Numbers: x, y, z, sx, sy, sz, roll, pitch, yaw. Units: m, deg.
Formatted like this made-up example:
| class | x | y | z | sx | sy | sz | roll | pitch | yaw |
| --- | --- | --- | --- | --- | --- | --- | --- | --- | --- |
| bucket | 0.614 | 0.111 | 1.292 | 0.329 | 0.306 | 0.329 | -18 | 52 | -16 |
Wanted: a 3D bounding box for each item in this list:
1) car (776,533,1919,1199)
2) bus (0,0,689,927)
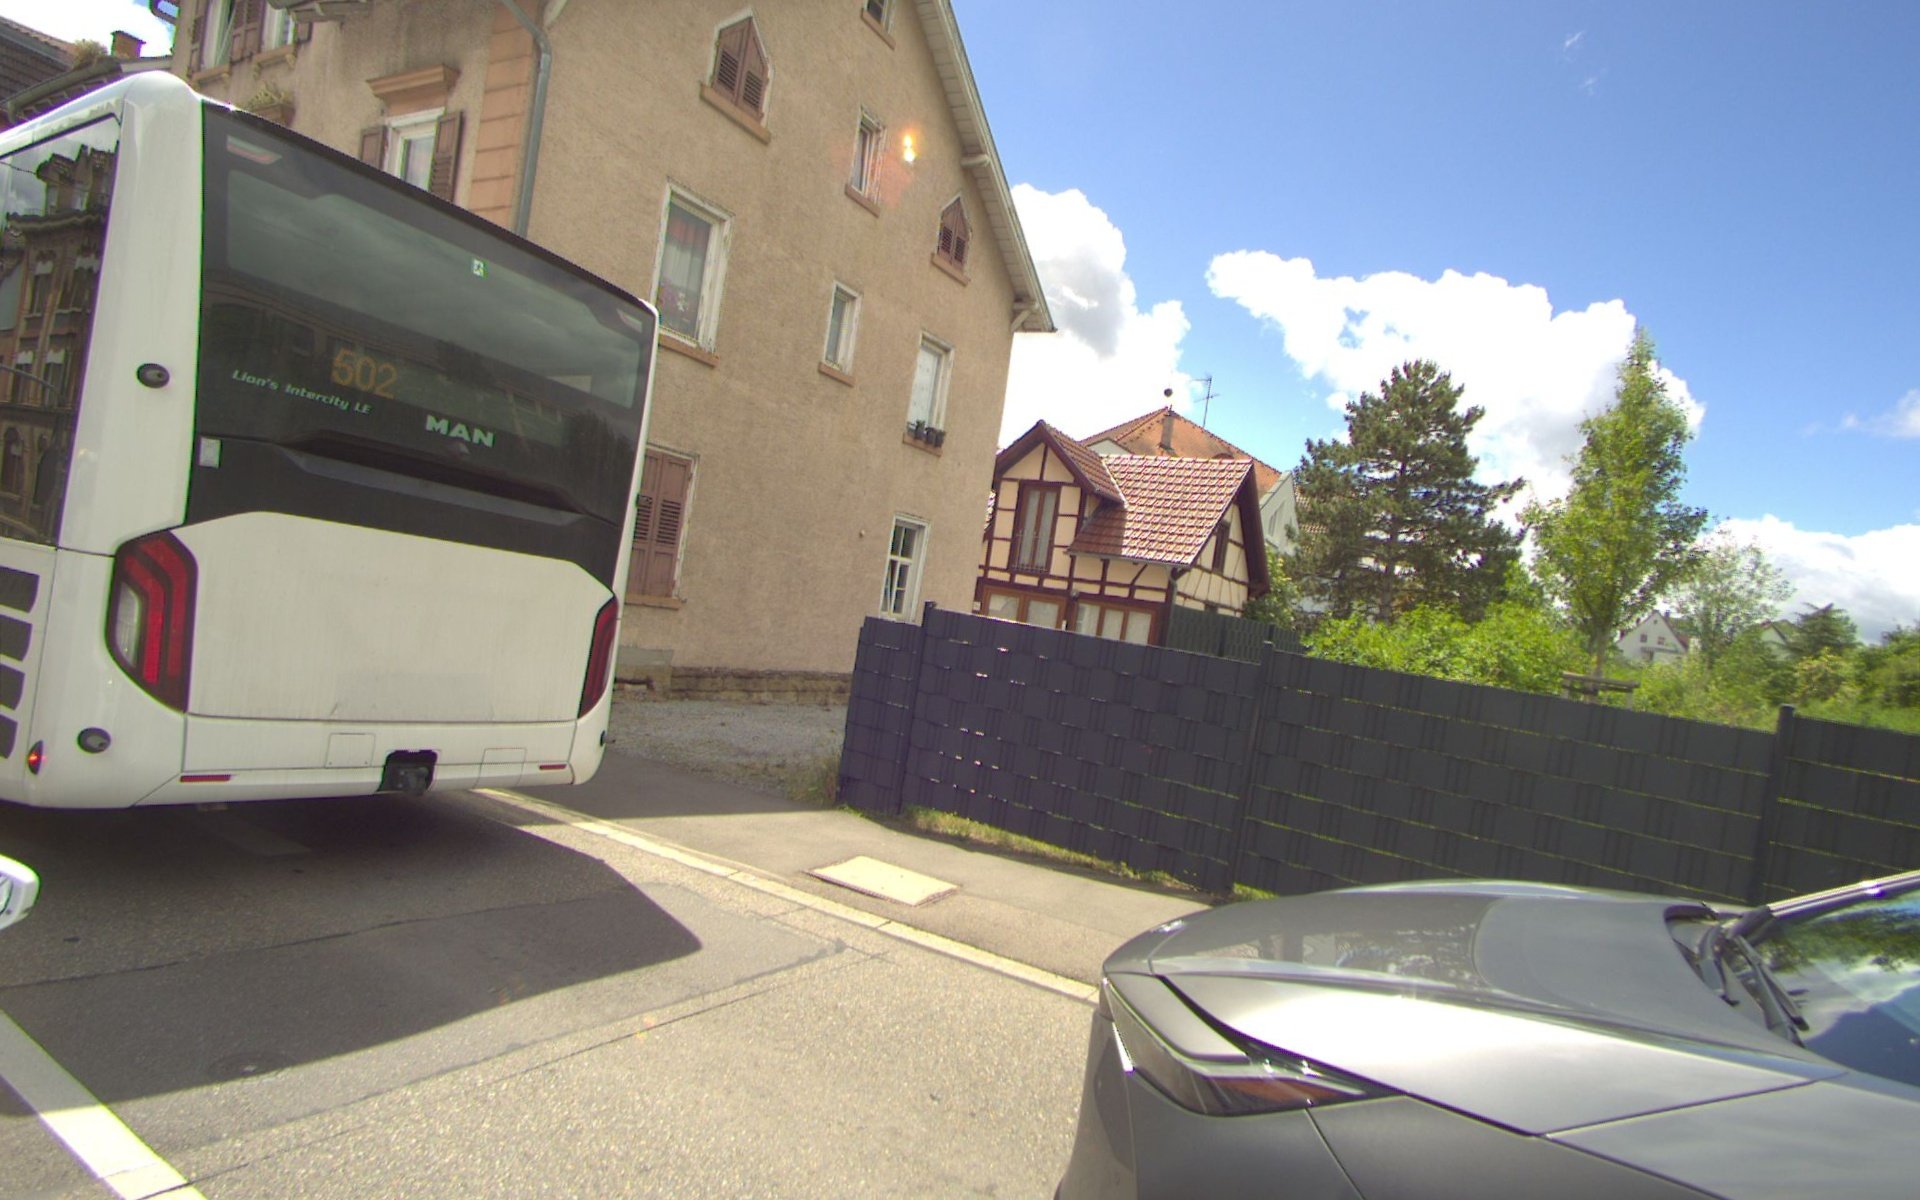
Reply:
| class | x | y | z | sx | sy | sz | roll | pitch | yaw |
| --- | --- | --- | --- | --- | --- | --- | --- | --- | --- |
| car | 2.151 | 1.038 | 1.436 | 4.605 | 1.631 | 1.924 | 7 | -2 | 32 |
| bus | -7.546 | -0.961 | 7.729 | 12.256 | 3.194 | 2.676 | 6 | -1 | 32 |
